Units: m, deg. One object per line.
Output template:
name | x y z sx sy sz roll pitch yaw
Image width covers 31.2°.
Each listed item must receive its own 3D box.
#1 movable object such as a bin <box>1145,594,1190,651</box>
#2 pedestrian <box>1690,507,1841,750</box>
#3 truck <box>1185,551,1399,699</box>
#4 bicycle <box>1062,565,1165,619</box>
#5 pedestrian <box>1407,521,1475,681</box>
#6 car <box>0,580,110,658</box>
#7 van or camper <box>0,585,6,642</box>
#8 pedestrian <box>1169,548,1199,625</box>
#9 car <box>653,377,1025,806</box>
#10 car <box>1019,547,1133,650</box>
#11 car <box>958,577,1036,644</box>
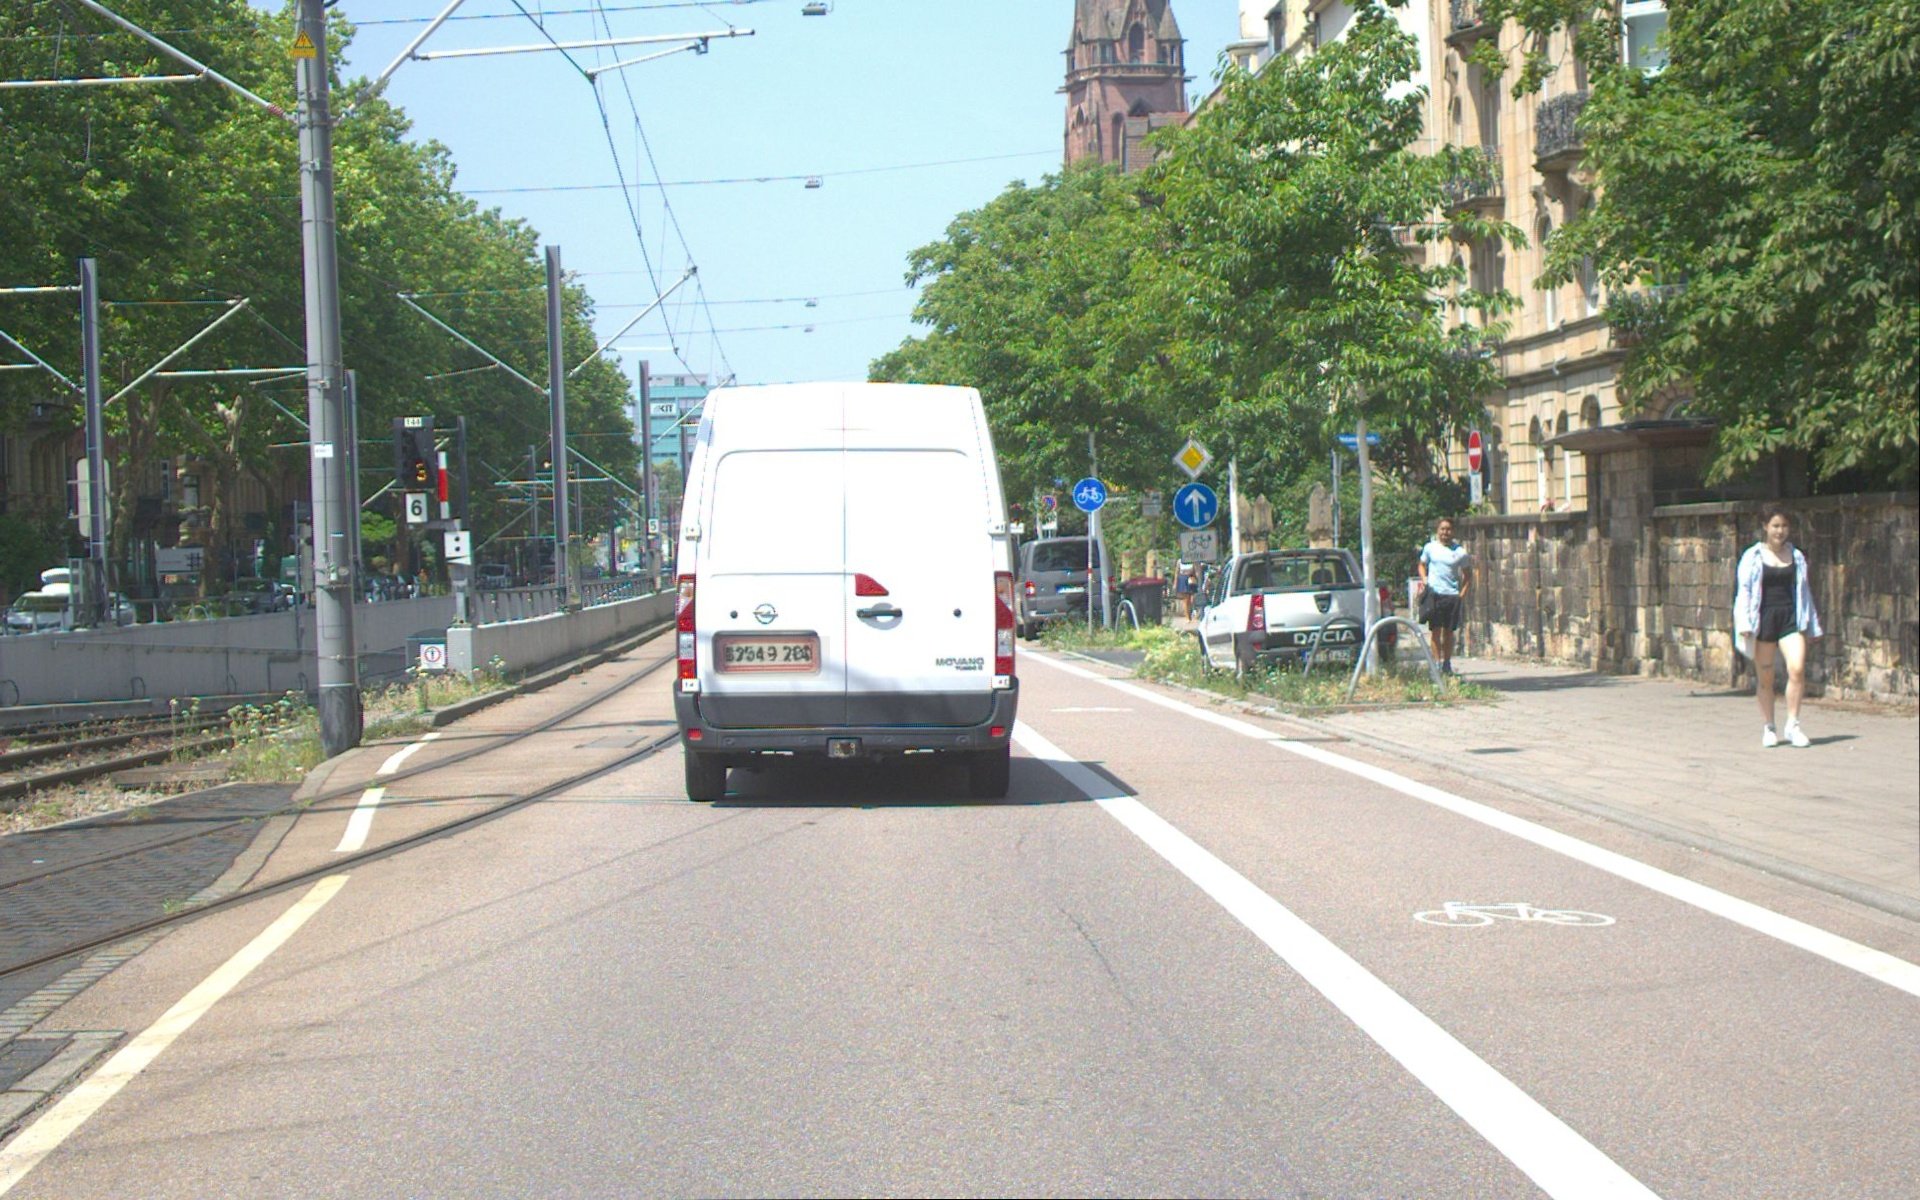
movable object such as a bin | 3.768 0.407 62.435 0.787 1.010 0.650 -1 0 4
pedestrian | 5.608 0.192 23.982 0.794 1.645 0.967 -1 0 -1
truck | 3.634 0.242 38.368 1.789 1.521 4.466 -1 1 -2
bicycle | 2.905 -0.152 65.254 1.880 0.988 0.470 -1 0 -12
pedestrian | 5.343 0.006 38.236 0.621 1.749 0.678 -1 0 -1
car | -23.077 0.461 87.529 1.993 1.898 4.719 -1 1 -4
van or camper | -32.850 0.486 109.105 4.544 1.830 1.932 -1 0 4
pedestrian | 4.684 -0.277 71.771 0.552 1.592 0.728 -1 0 0
car | -0.837 -0.074 22.443 2.117 2.450 5.055 -1 0 -3
car | 2.290 -0.068 69.154 1.879 1.941 4.837 -2 1 -2
car | 0.875 0.228 83.731 1.667 1.525 4.013 -2 1 -2
